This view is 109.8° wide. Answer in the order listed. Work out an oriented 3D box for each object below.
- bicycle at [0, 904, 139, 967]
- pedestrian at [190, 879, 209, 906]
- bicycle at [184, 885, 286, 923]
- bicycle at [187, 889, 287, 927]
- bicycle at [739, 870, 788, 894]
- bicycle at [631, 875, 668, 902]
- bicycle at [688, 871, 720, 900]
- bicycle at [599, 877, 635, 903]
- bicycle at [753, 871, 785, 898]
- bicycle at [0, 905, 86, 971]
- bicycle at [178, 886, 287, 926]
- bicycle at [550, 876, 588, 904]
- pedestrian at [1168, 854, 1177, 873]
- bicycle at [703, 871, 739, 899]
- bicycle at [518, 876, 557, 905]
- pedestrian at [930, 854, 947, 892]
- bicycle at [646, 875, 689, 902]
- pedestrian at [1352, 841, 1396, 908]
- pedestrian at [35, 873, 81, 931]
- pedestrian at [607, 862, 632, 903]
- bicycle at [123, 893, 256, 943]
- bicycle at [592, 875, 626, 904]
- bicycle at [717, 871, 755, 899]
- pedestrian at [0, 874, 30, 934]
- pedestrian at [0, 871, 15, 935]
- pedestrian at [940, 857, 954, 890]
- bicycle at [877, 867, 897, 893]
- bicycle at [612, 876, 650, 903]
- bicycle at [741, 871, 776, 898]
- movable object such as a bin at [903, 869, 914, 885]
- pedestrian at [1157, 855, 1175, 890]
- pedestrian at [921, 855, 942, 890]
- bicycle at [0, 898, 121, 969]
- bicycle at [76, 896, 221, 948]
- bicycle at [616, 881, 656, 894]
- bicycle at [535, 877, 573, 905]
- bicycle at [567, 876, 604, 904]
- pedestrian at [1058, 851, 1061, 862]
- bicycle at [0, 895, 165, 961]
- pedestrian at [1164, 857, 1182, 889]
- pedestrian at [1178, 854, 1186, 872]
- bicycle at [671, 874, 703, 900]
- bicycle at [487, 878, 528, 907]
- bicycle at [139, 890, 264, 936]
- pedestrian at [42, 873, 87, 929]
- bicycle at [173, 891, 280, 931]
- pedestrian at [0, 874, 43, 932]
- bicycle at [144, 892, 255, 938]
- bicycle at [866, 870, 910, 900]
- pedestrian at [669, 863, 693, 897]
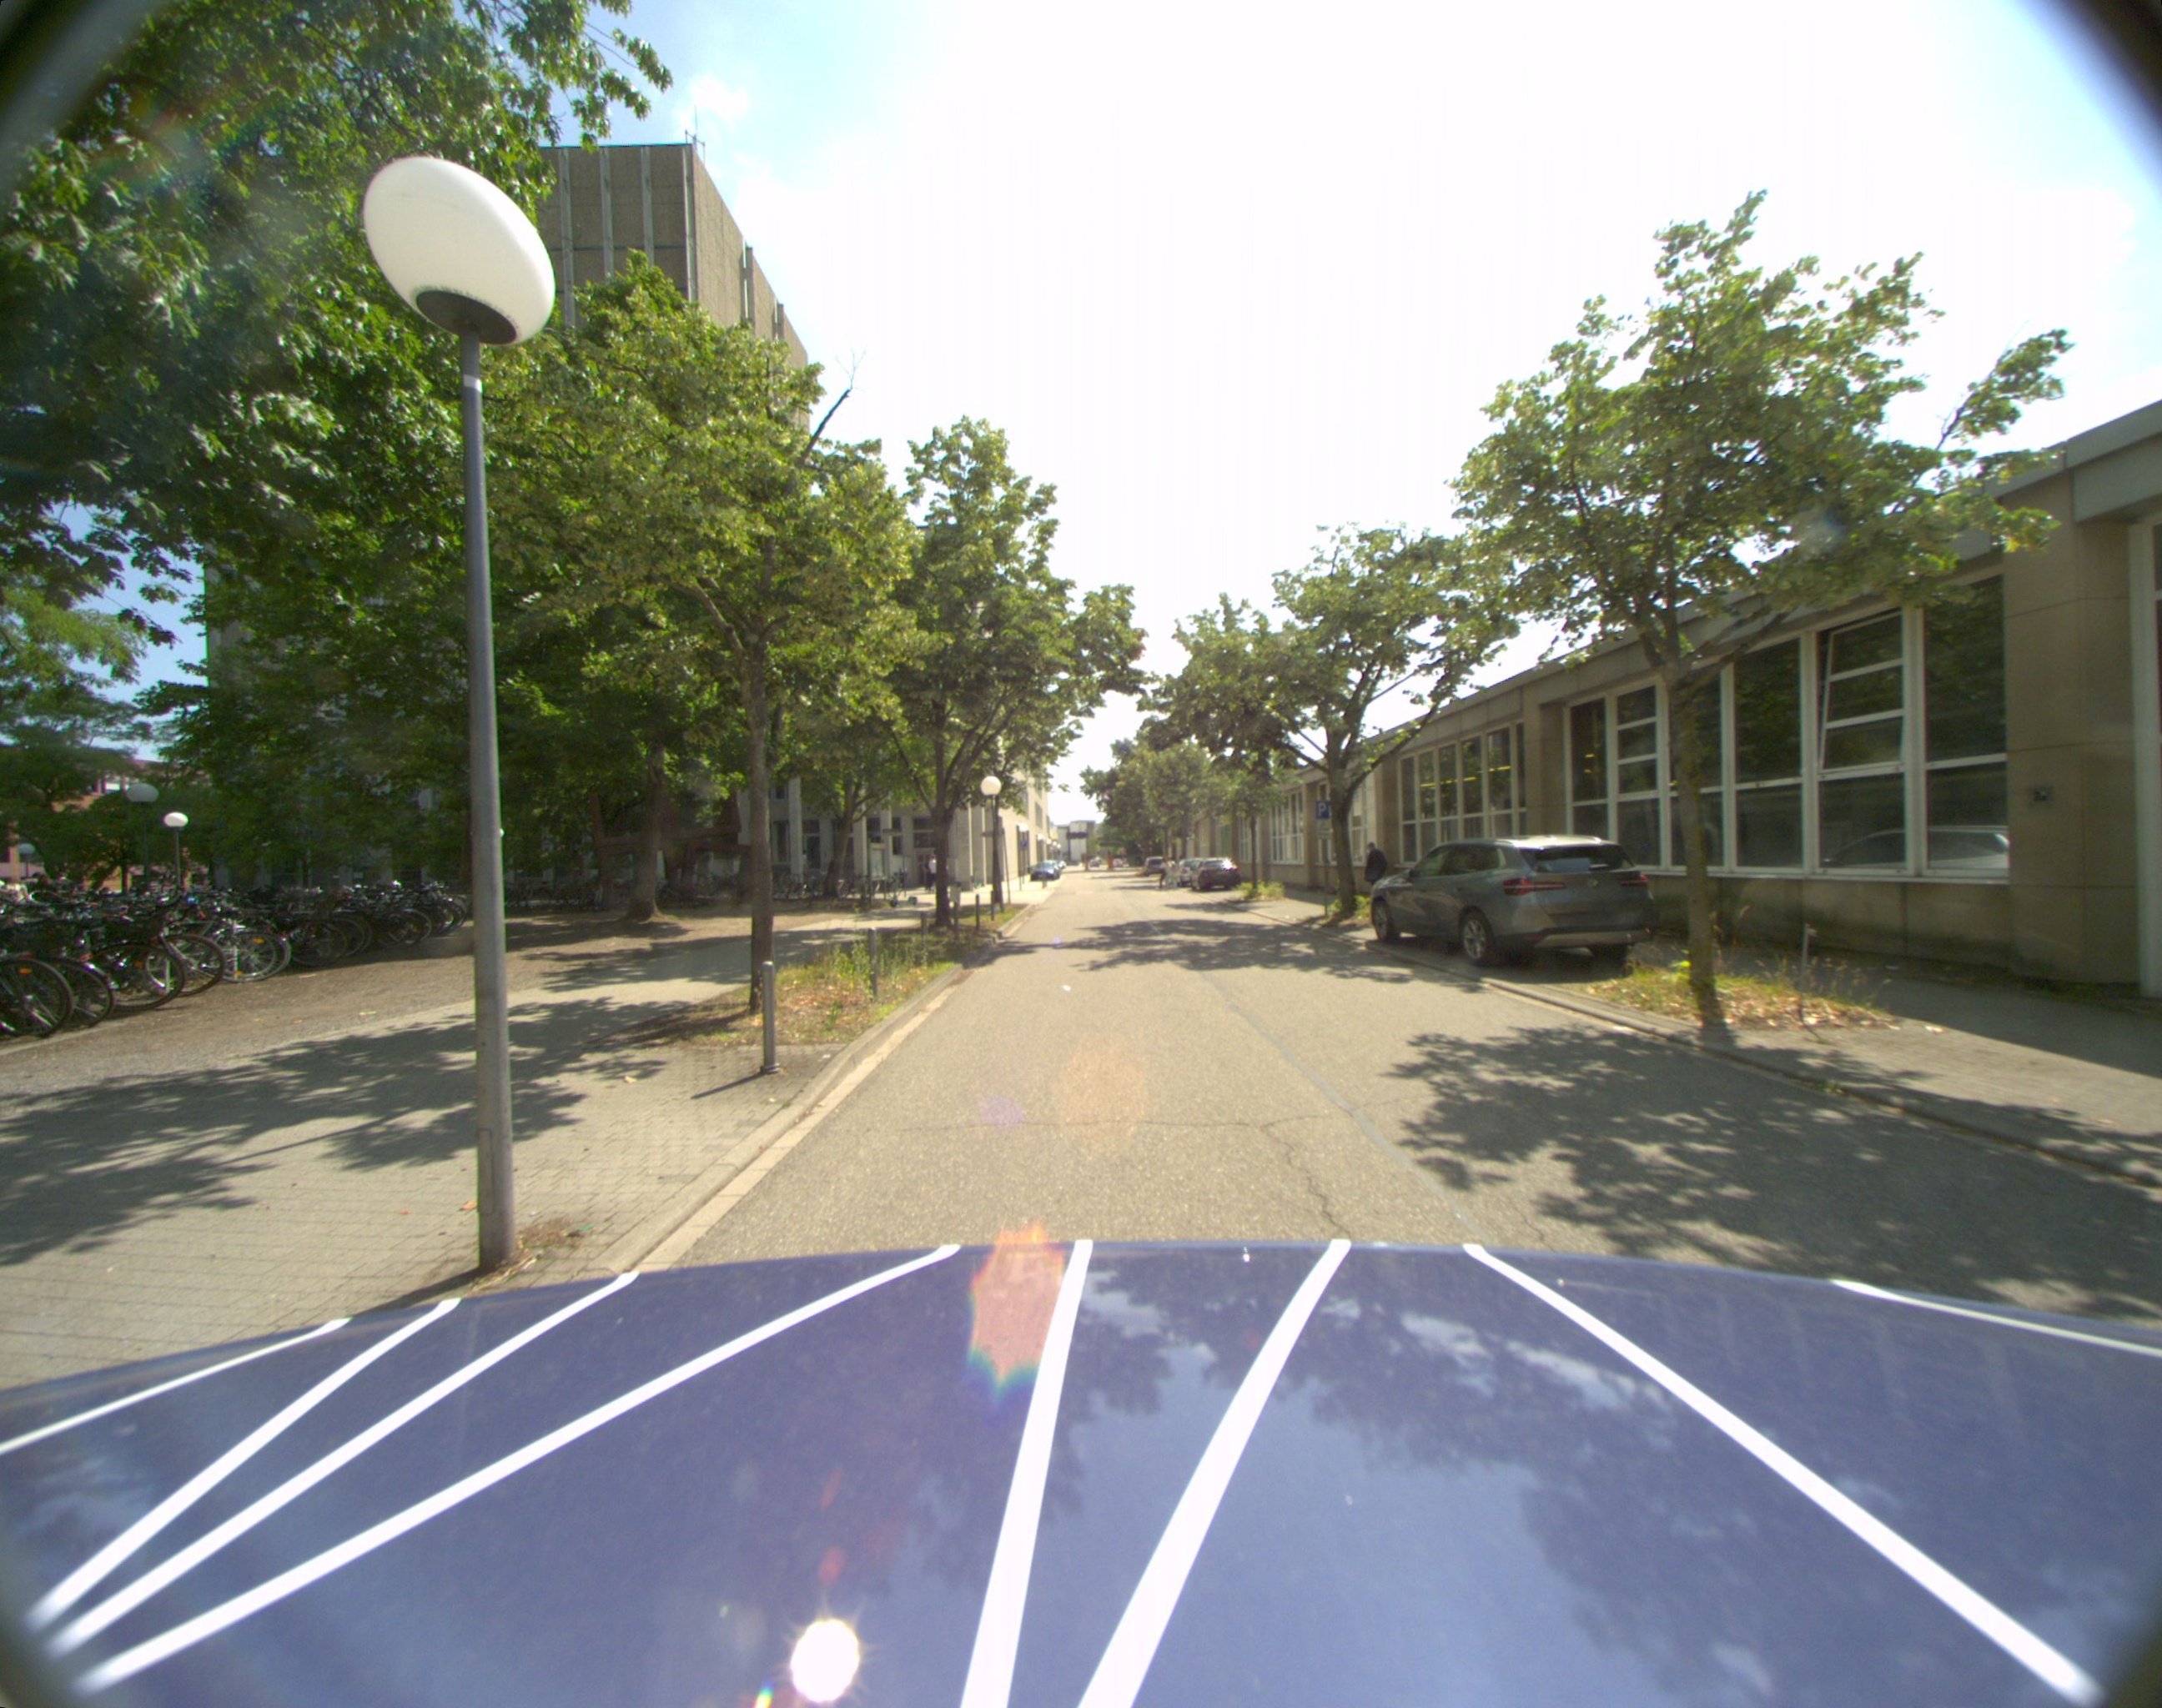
[{"bbox_3d":[-17.812,1.394,13.092,1.907,0.973,0.477,0,0,-38],"label":"bicycle"},{"bbox_3d":[-39.041,1.701,33.651,0.402,1.205,0.387,-1,0,9],"label":"pedestrian"},{"bbox_3d":[-23.920,1.389,21.534,0.477,0.973,1.908,0,0,41],"label":"bicycle"},{"bbox_3d":[-24.294,1.542,21.916,0.477,0.973,1.908,0,0,41],"label":"bicycle"},{"bbox_3d":[-15.021,1.318,35.971,1.929,1.036,0.818,-1,4,6],"label":"bicycle"},{"bbox_3d":[-17.887,1.427,31.540,0.617,1.041,1.688,-4,-1,-4],"label":"bicycle"},{"bbox_3d":[-15.678,1.315,31.644,0.628,1.143,1.695,-4,-1,-8],"label":"bicycle"},{"bbox_3d":[-19.185,1.477,31.428,0.501,1.041,1.688,-4,-1,-4],"label":"bicycle"},{"bbox_3d":[-12.944,1.259,31.585,0.481,1.118,1.698,0,-2,6],"label":"bicycle"},{"bbox_3d":[-17.184,1.333,11.893,1.907,0.973,0.477,0,0,-30],"label":"bicycle"},{"bbox_3d":[-23.041,1.400,20.672,1.907,0.973,0.477,0,0,-37],"label":"bicycle"},{"bbox_3d":[-21.281,1.482,31.619,0.454,1.123,1.688,-4,-1,-4],"label":"bicycle"},{"bbox_3d":[7.841,0.825,65.228,0.604,1.571,0.552,0,0,31],"label":"pedestrian"},{"bbox_3d":[-14.997,1.283,31.692,0.627,1.143,1.697,0,-2,2],"label":"bicycle"},{"bbox_3d":[-22.435,1.501,31.385,0.454,1.123,1.688,-4,-1,-4],"label":"bicycle"},{"bbox_3d":[-7.276,0.963,38.820,0.687,1.880,0.686,-2,2,-2],"label":"pedestrian"},{"bbox_3d":[-17.150,1.406,31.547,0.617,1.041,1.698,-4,-1,9],"label":"bicycle"},{"bbox_3d":[8.102,0.568,21.006,0.791,1.776,0.669,-3,0,-23],"label":"pedestrian"},{"bbox_3d":[-32.283,1.502,23.981,0.719,1.764,0.746,-1,0,26],"label":"pedestrian"},{"bbox_3d":[-19.437,1.182,32.011,0.428,1.693,0.944,-3,0,-4],"label":"pedestrian"},{"bbox_3d":[-19.901,1.403,17.022,0.377,0.973,1.908,0,0,41],"label":"bicycle"},{"bbox_3d":[-19.783,1.476,31.875,0.454,1.123,1.688,-4,-1,-4],"label":"bicycle"},{"bbox_3d":[-14.289,1.272,31.498,0.627,1.118,1.698,0,-2,6],"label":"bicycle"},{"bbox_3d":[-32.655,1.511,23.058,0.719,1.764,0.746,-1,0,26],"label":"pedestrian"},{"bbox_3d":[-30.408,1.367,21.183,0.719,1.764,0.746,-1,0,39],"label":"pedestrian"},{"bbox_3d":[-7.019,1.024,39.810,0.613,1.719,0.542,-1,1,2],"label":"pedestrian"},{"bbox_3d":[-10.105,1.332,39.594,0.531,1.235,1.829,-1,1,0],"label":"bicycle"},{"bbox_3d":[-18.605,1.458,31.466,0.617,1.041,1.688,-4,-1,-4],"label":"bicycle"},{"bbox_3d":[-13.447,1.260,31.750,0.565,1.118,1.698,0,-2,6],"label":"bicycle"},{"bbox_3d":[-10.612,1.427,46.706,0.513,0.944,0.512,1,0,-1],"label":"movable object such as a bin"},{"bbox_3d":[4.230,0.905,37.866,0.797,1.718,0.601,-1,0,3],"label":"pedestrian"},{"bbox_3d":[-7.826,0.950,39.754,0.811,1.786,0.618,-2,1,-43],"label":"pedestrian"},{"bbox_3d":[-17.369,1.302,12.483,1.907,1.076,0.477,0,0,-36],"label":"bicycle"},{"bbox_3d":[-19.517,1.406,15.955,1.907,0.973,0.378,0,0,-30],"label":"bicycle"},{"bbox_3d":[-26.720,2.022,45.645,1.989,0.755,0.644,-1,-1,-2],"label":"bicycle"},{"bbox_3d":[-21.864,1.519,31.571,0.454,1.123,1.688,-4,-1,-4],"label":"bicycle"},{"bbox_3d":[-20.631,1.475,31.665,0.454,1.123,1.688,-4,-1,-4],"label":"bicycle"},{"bbox_3d":[-3.220,0.424,113.972,0.383,1.620,0.519,1,0,2],"label":"pedestrian"},{"bbox_3d":[-18.514,1.345,14.070,1.907,1.076,0.477,0,0,-36],"label":"bicycle"},{"bbox_3d":[4.483,0.900,37.145,0.797,1.533,0.664,-1,0,3],"label":"pedestrian"},{"bbox_3d":[8.656,0.787,65.162,0.605,1.571,0.551,1,0,-2],"label":"pedestrian"},{"bbox_3d":[-16.340,1.358,31.579,0.568,1.041,1.696,-4,-1,-7],"label":"bicycle"},{"bbox_3d":[-23.549,1.576,31.253,0.454,1.123,1.688,-4,-1,-4],"label":"bicycle"},{"bbox_3d":[-20.759,1.370,17.988,0.377,0.973,1.908,0,0,42],"label":"bicycle"},{"bbox_3d":[-33.355,1.522,24.927,0.810,1.764,0.856,-1,0,36],"label":"pedestrian"},{"bbox_3d":[-23.473,1.538,20.921,1.908,0.973,0.477,0,0,-43],"label":"bicycle"},{"bbox_3d":[-33.796,1.546,24.141,0.989,1.764,0.844,-1,0,31],"label":"pedestrian"},{"bbox_3d":[-21.637,1.490,18.698,1.746,1.017,0.292,0,0,-40],"label":"bicycle"},{"bbox_3d":[-7.786,1.241,30.735,0.604,1.135,1.790,1,1,33],"label":"bicycle"},{"bbox_3d":[-20.828,1.327,39.589,0.938,1.730,0.748,-2,1,-19],"label":"pedestrian"}]
